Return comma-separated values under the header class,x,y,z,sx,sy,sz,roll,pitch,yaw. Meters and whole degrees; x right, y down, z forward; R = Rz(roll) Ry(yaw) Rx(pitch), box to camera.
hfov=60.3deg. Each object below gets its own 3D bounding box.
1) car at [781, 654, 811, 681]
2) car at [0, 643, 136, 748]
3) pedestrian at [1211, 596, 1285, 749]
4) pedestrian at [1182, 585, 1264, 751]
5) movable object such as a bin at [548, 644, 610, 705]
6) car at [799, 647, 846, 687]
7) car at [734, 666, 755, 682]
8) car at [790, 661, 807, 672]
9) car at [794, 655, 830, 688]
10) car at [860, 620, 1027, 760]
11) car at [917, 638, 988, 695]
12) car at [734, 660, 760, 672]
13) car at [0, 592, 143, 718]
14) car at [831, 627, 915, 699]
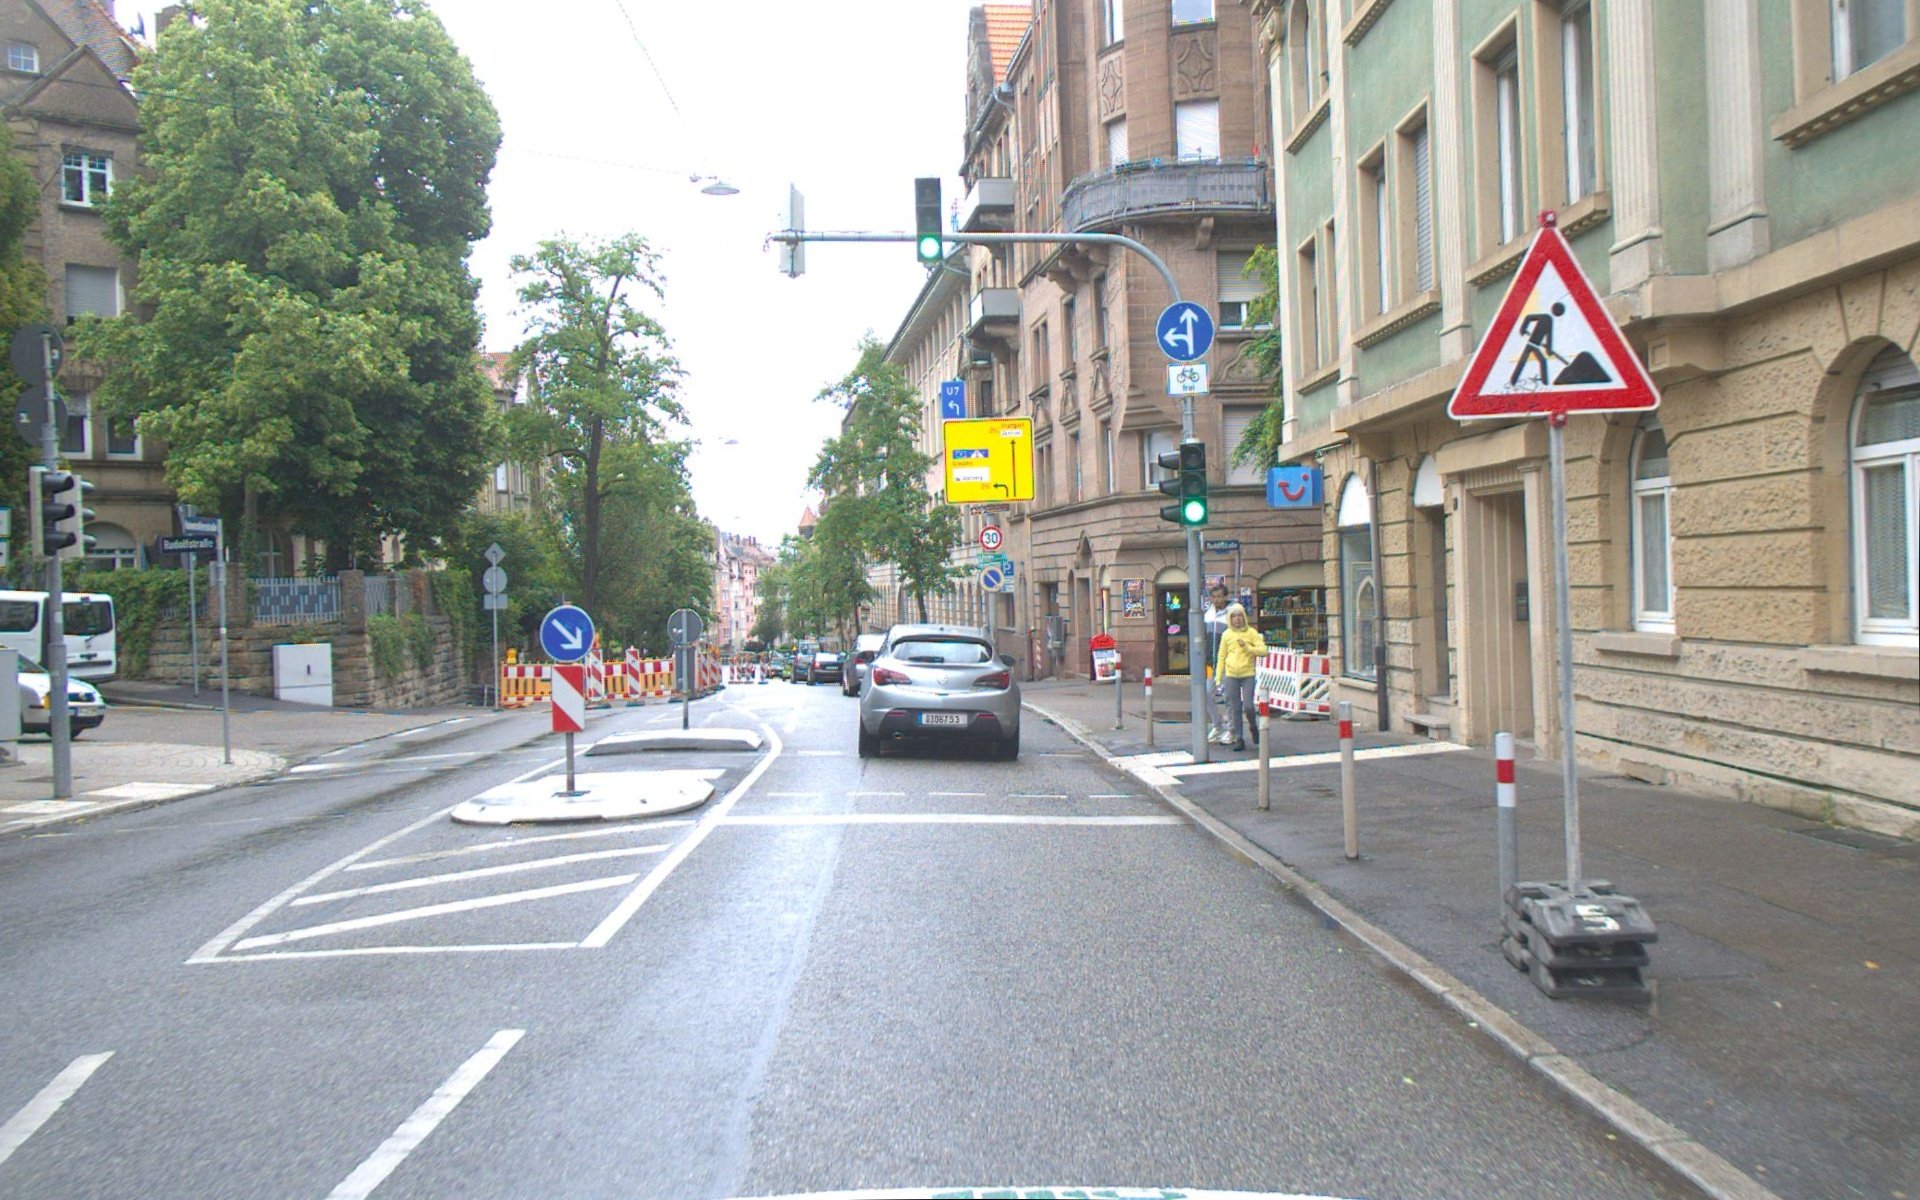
class,x,y,z,sx,sy,sz,roll,pitch,yaw
car,-10.461,4.328,105.304,1.626,1.570,3.658,-3,-2,-8
car,-14.443,1.357,24.205,3.781,1.434,1.826,2,-4,4
pedestrian,3.147,0.783,18.121,0.585,1.612,0.665,-3,-1,-2
pedestrian,2.987,0.763,18.840,0.703,1.805,0.665,-3,-1,-2
movable object such as a bin,-15.323,2.990,66.606,1.954,2.340,2.812,-2,-2,-4
car,-5.875,2.889,70.609,1.627,1.570,3.656,-3,-2,-10
car,-22.128,7.602,169.425,1.957,1.527,3.990,-1,-3,-10
car,-25.171,10.368,257.838,1.952,1.714,4.000,1,-3,2
car,-7.684,3.720,85.744,1.626,1.570,3.658,-3,-2,-8
car,-0.179,1.030,19.589,1.774,1.475,3.868,0,-2,0
car,-0.259,2.058,50.650,1.626,1.570,3.658,-3,-2,-8
car,-32.239,9.977,250.671,3.912,1.781,1.996,1,-3,-8
car,-18.285,0.939,31.471,4.564,2.084,2.027,4,0,13
car,-2.023,1.438,37.699,1.738,1.531,3.864,0,-2,-6
